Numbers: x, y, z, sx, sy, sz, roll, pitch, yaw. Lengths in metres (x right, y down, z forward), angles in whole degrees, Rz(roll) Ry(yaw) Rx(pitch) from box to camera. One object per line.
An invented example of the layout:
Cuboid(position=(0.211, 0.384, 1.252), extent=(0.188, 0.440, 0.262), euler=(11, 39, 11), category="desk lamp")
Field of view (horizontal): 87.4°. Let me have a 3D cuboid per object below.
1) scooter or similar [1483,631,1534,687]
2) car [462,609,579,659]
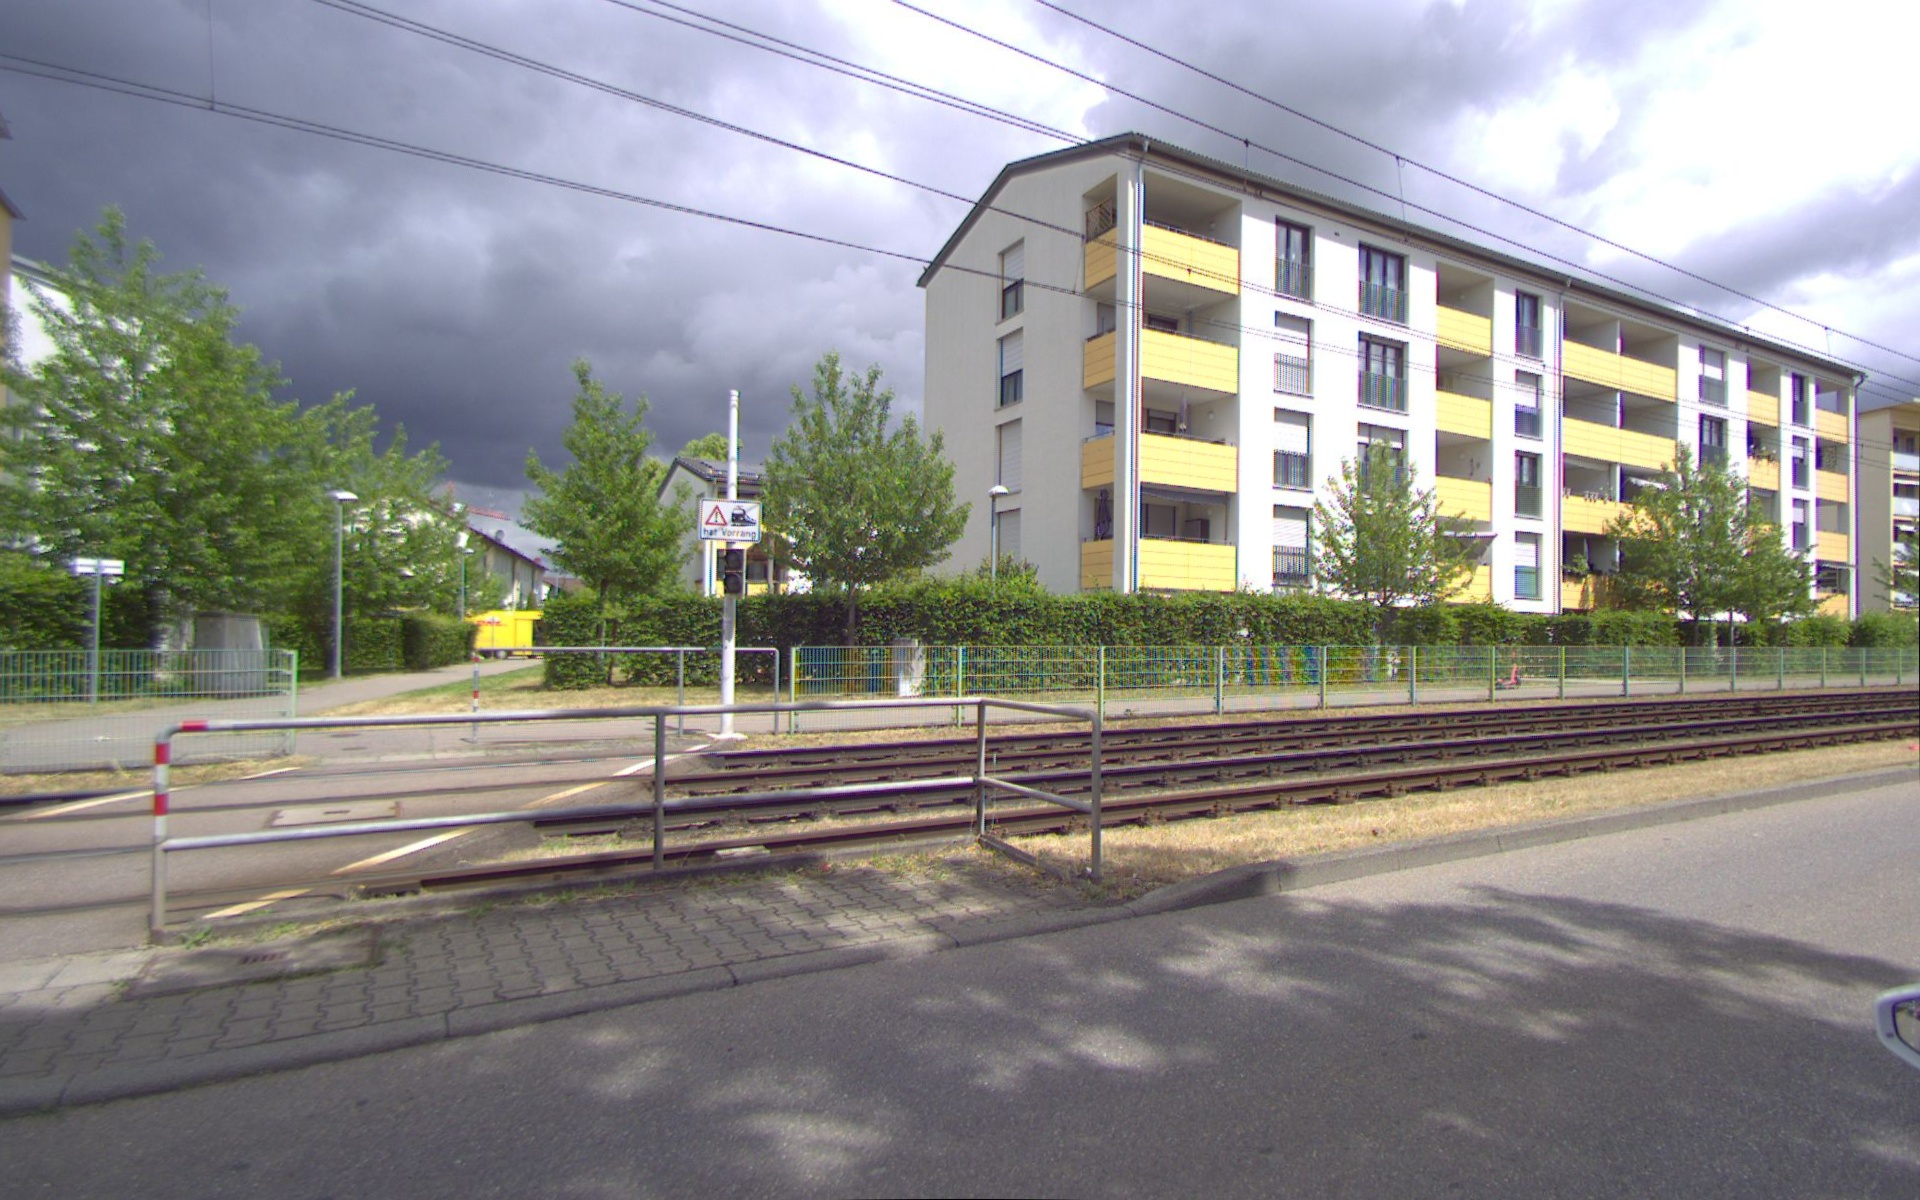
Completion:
Cuboid(position=(13.278, 1.416, 24.303), extent=(1.286, 1.310, 0.488), euler=(1, -1, -29), category="scooter or similar")
Cuboid(position=(-26.042, 2.011, 59.616), extent=(6.154, 2.816, 2.303), euler=(1, -1, -31), category="car")
